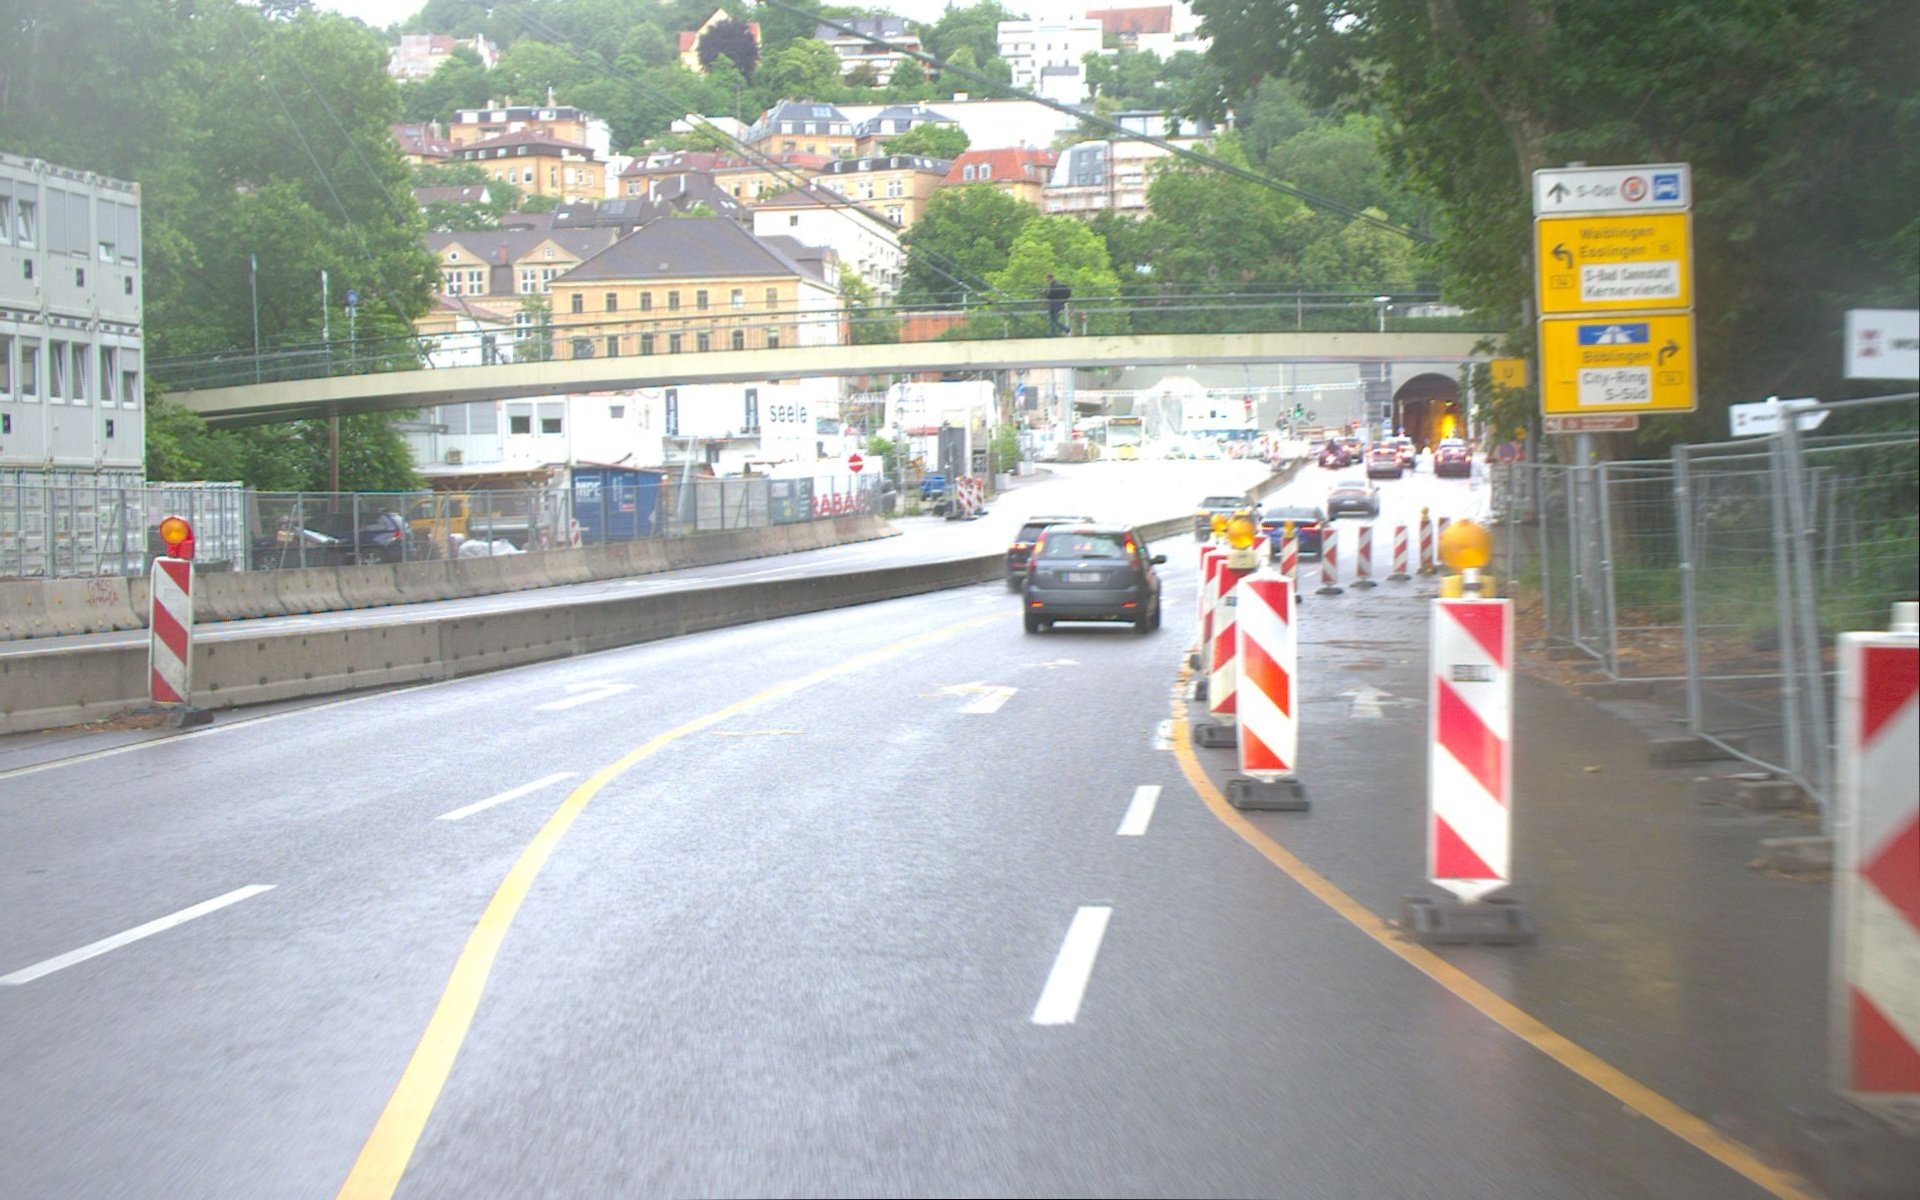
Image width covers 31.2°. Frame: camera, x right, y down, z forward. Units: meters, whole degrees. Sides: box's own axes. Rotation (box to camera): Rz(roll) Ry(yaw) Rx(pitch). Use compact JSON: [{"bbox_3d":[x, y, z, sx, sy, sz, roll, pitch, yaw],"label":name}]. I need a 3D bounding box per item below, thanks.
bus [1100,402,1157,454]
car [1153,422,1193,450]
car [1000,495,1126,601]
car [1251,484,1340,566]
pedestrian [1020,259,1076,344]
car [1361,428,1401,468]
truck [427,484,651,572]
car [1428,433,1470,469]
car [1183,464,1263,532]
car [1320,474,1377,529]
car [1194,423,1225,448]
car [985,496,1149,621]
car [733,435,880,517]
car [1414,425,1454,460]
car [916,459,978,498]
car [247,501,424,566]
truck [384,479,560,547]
[{"bbox_3d":[10.944,-11.106,222.379,2.807,3.173,8.805,-2,2,8],"label":"bus"},{"bbox_3d":[13.253,-10.211,213.703,2.082,1.625,4.852,-1,3,7],"label":"car"},{"bbox_3d":[2.079,-1.052,68.518,2.017,2.007,3.999,-2,1,8],"label":"car"},{"bbox_3d":[8.823,-1.971,90.149,2.105,2.043,3.999,-2,1,8],"label":"car"},{"bbox_3d":[2.253,-7.663,88.325,1.148,2.053,1.058,-1,1,16],"label":"pedestrian"},{"bbox_3d":[21.487,-7.757,175.530,1.994,1.863,3.999,-2,1,7],"label":"car"},{"bbox_3d":[-12.603,-2.157,103.216,6.276,2.444,2.694,-2,1,2],"label":"truck"},{"bbox_3d":[25.370,-7.726,178.369,1.994,1.693,3.999,-2,1,6],"label":"car"},{"bbox_3d":[8.203,-3.167,107.084,1.994,2.007,3.998,-2,1,11],"label":"car"},{"bbox_3d":[14.972,-3.787,132.284,2.052,2.007,3.999,-2,1,7],"label":"car"},{"bbox_3d":[16.711,-11.010,230.383,1.710,1.484,3.449,-2,1,10],"label":"car"},{"bbox_3d":[1.375,-0.567,45.752,1.812,1.521,4.001,-2,1,-3],"label":"car"},{"bbox_3d":[-5.564,-4.520,125.441,1.997,2.865,6.040,-1,1,35],"label":"car"},{"bbox_3d":[25.465,-8.457,184.750,1.994,1.693,3.999,-2,1,6],"label":"car"},{"bbox_3d":[-0.584,-5.541,156.450,1.994,1.616,3.999,-1,4,12],"label":"car"},{"bbox_3d":[-17.019,-1.812,93.810,4.423,1.622,1.959,-2,2,0],"label":"car"},{"bbox_3d":[-15.826,-2.836,111.568,5.248,2.006,2.163,-2,2,4],"label":"truck"}]
